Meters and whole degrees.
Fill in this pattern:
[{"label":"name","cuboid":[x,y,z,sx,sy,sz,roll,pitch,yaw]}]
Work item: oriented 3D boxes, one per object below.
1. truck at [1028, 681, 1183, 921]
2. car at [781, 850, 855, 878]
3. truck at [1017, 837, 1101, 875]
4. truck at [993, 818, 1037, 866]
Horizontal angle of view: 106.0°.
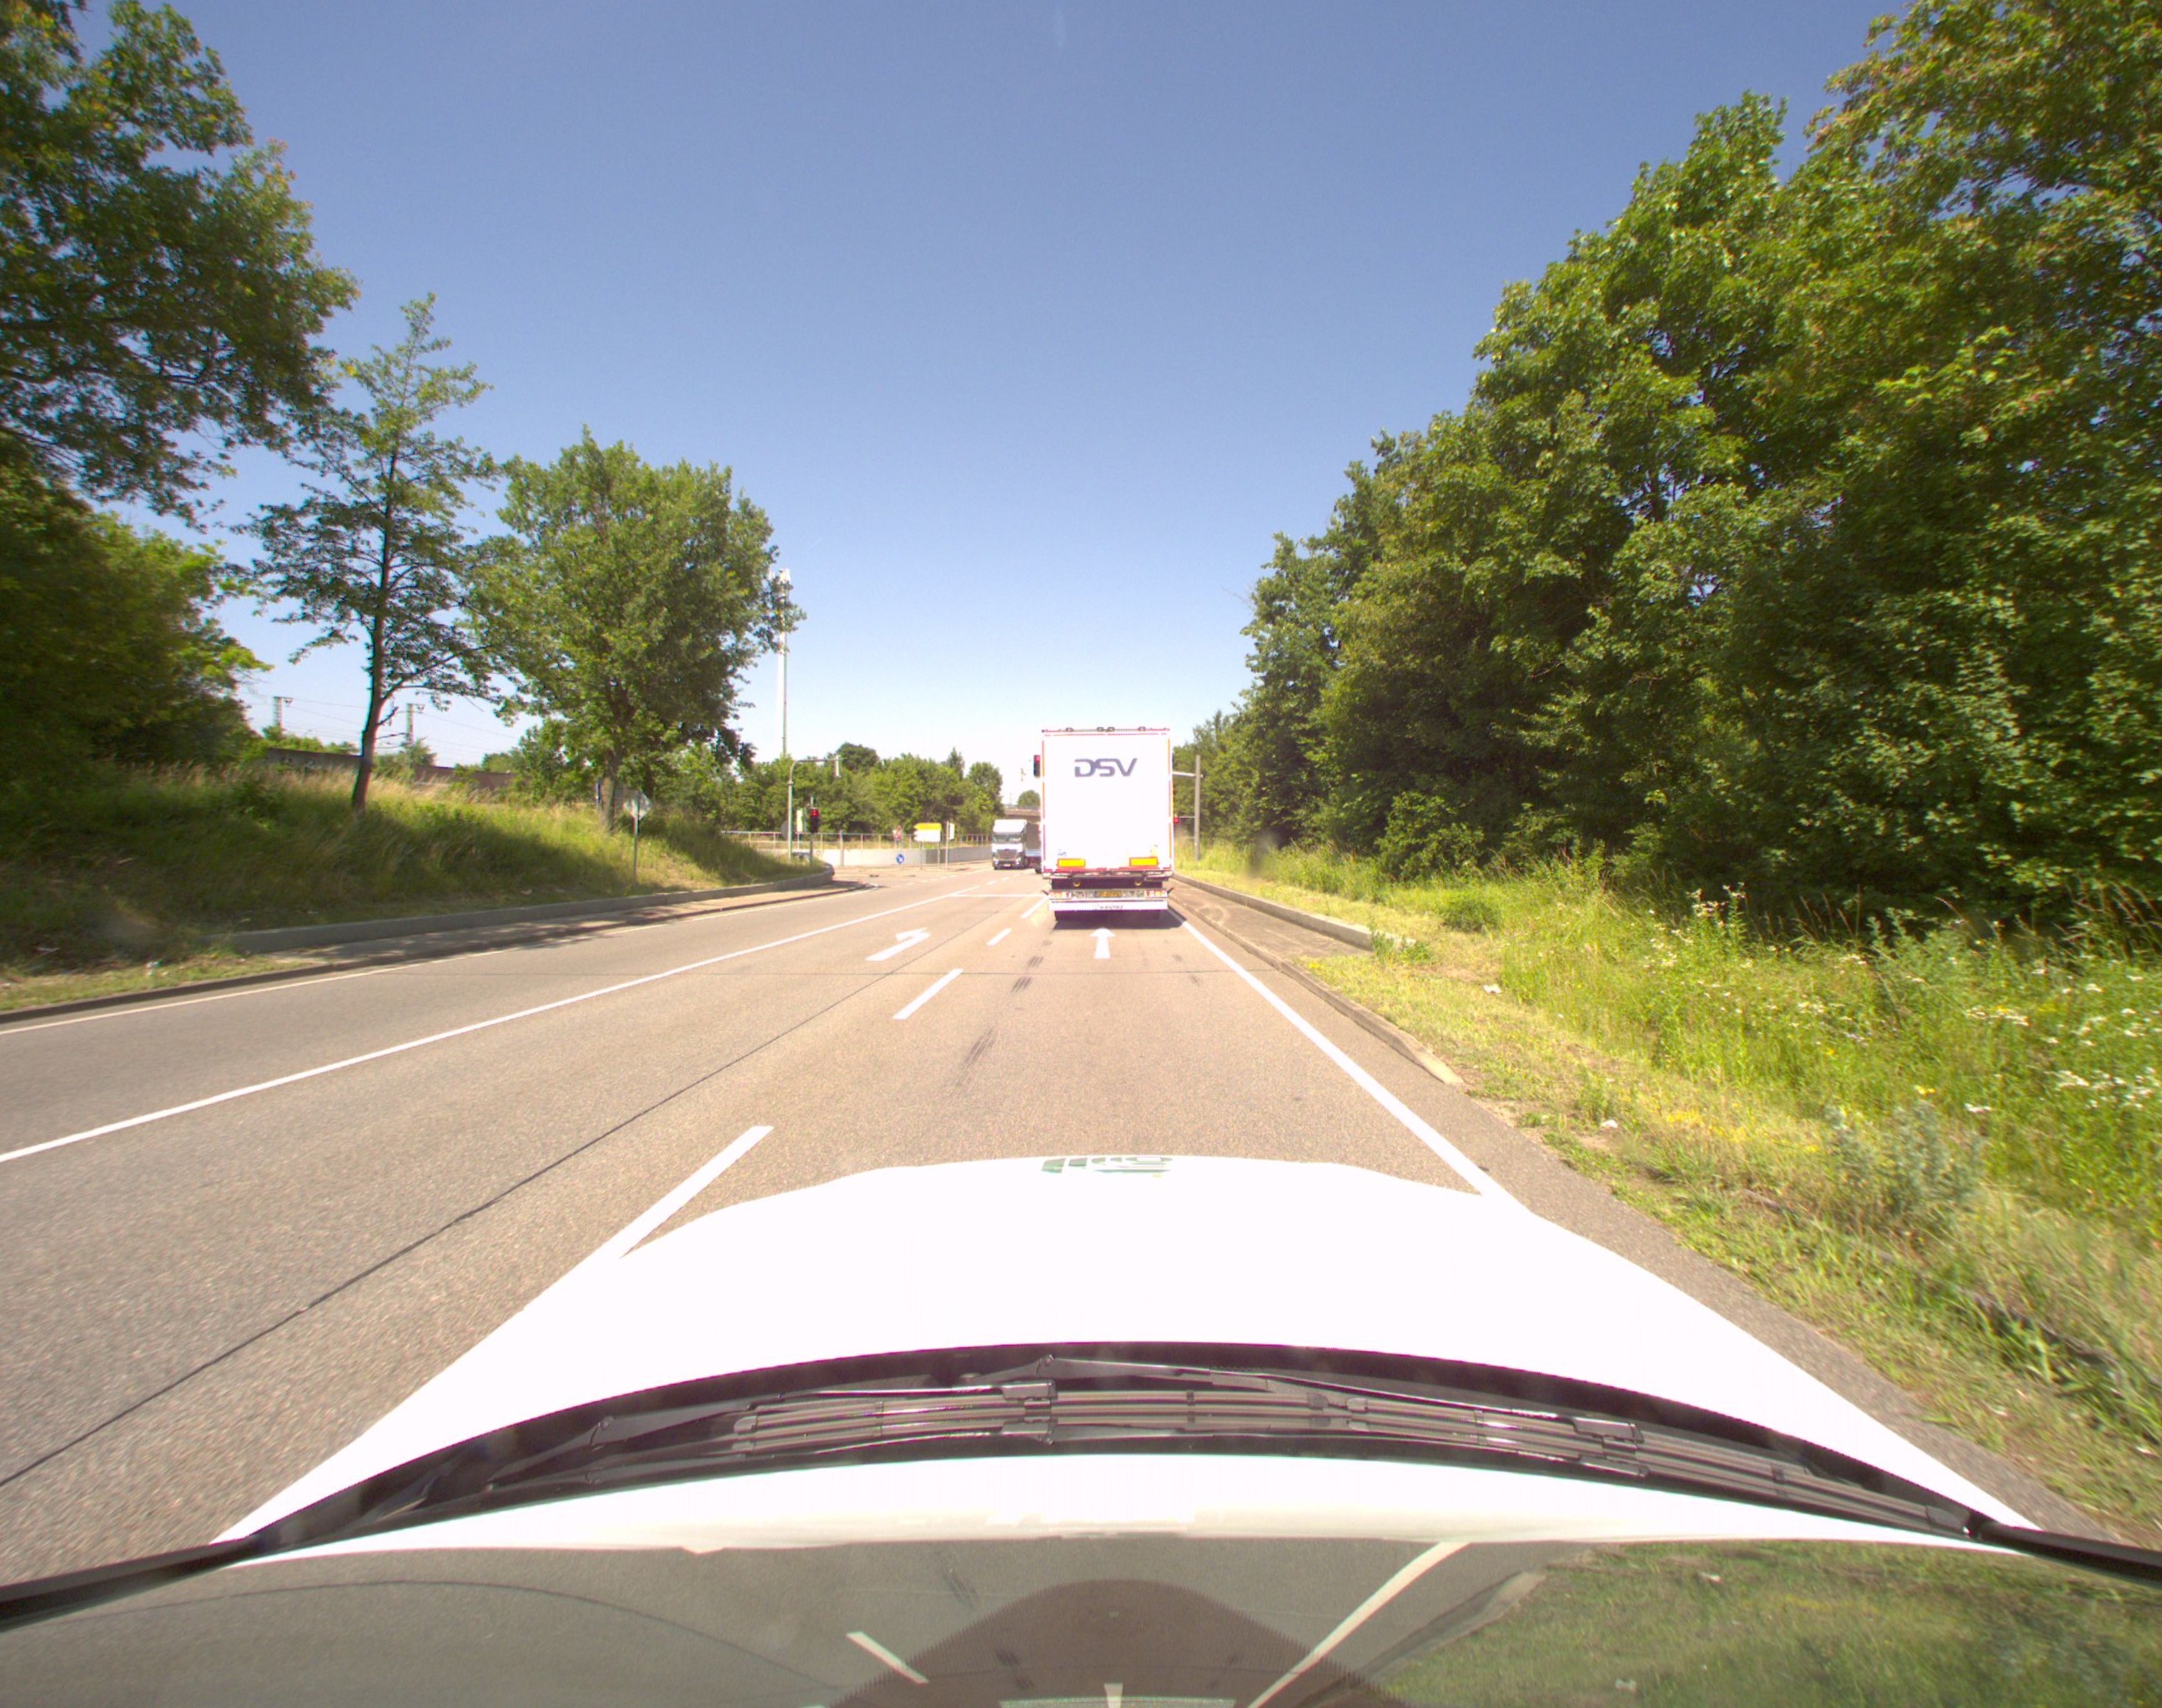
[{"label":"truck","cuboid":[0.607,-1.035,20.565,2.939,4.568,9.866,-1,0,2]},{"label":"car","cuboid":[-14.786,0.547,45.839,3.573,1.469,1.593,-1,0,3]},{"label":"truck","cuboid":[-1.418,0.095,56.267,2.680,2.499,6.472,0,0,31]},{"label":"truck","cuboid":[-5.552,-1.047,70.418,2.344,3.749,12.631,-1,1,2]}]
